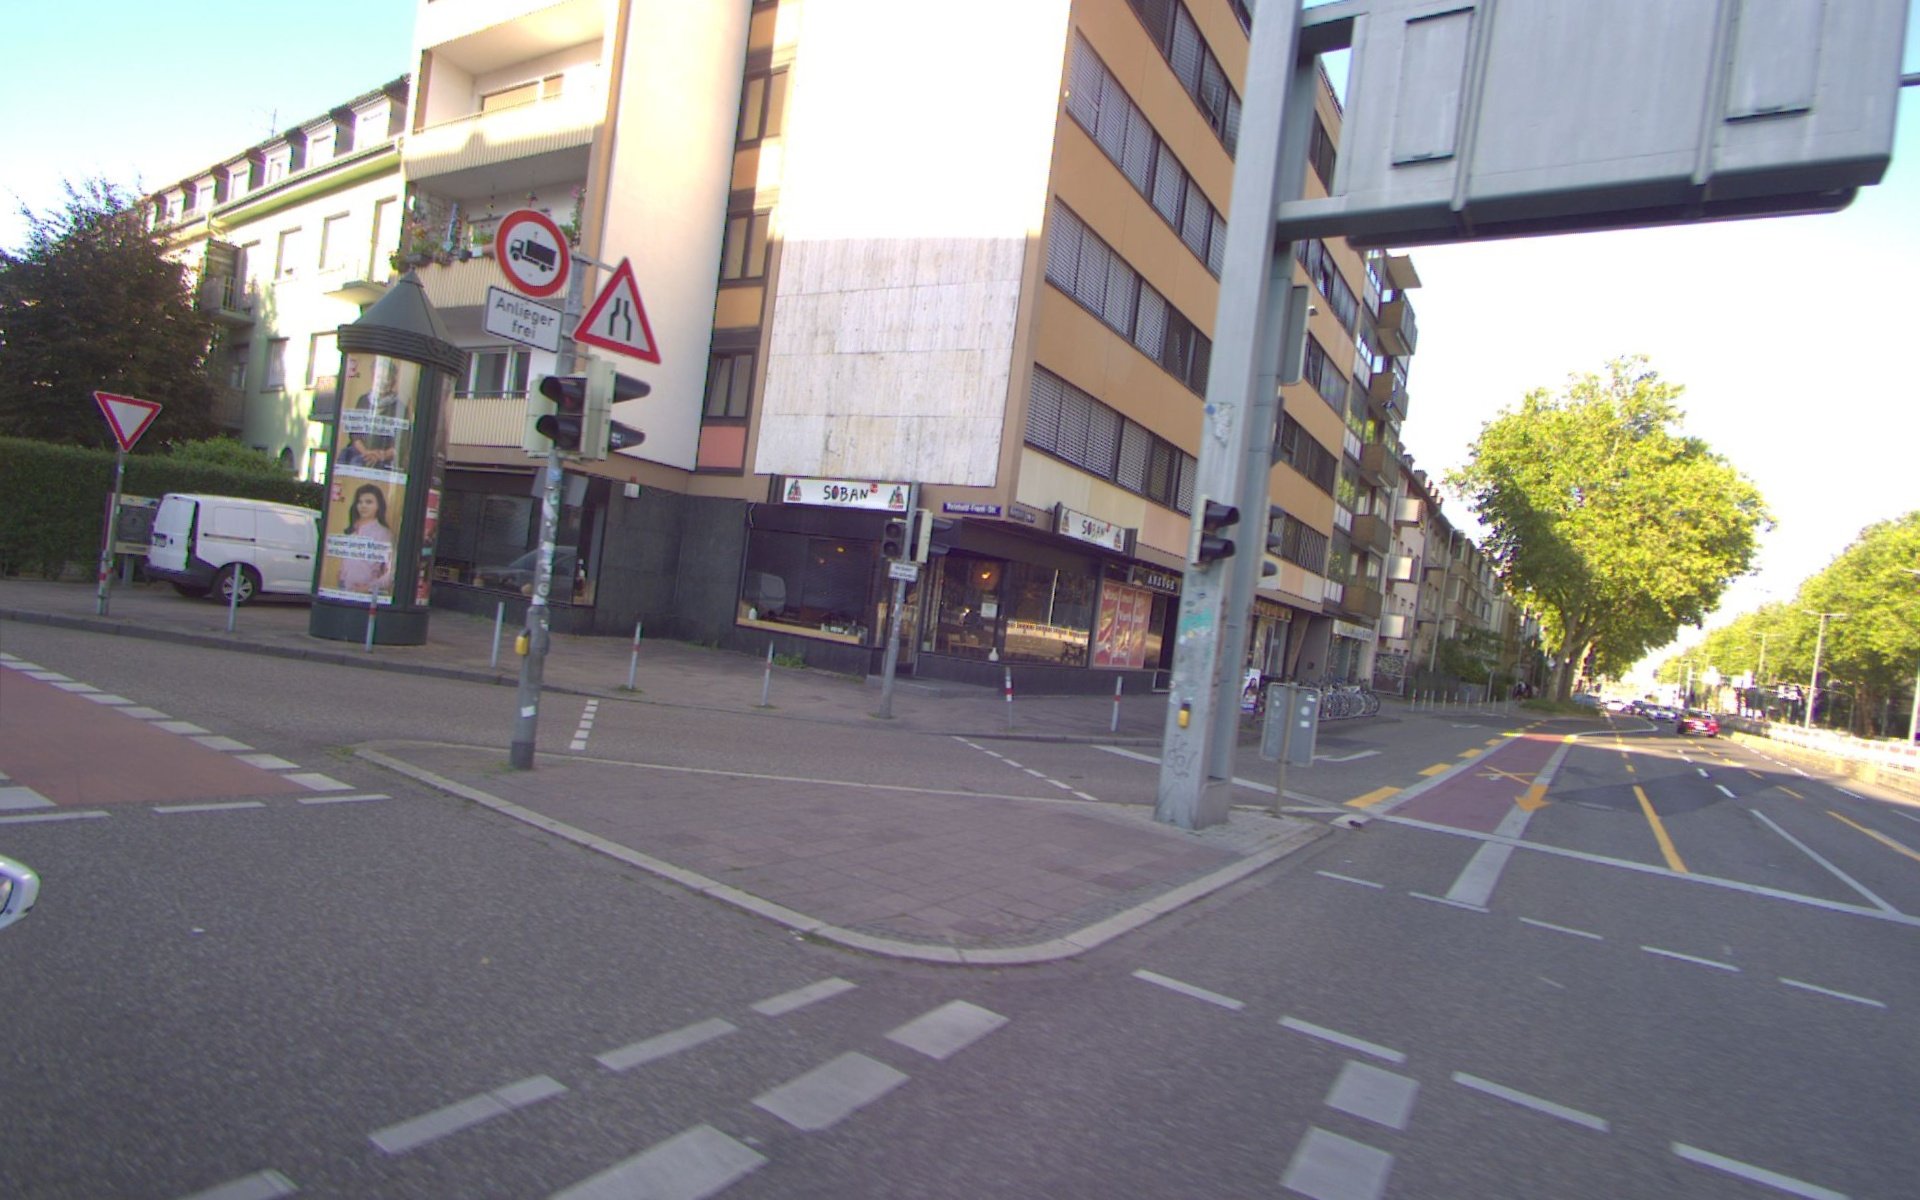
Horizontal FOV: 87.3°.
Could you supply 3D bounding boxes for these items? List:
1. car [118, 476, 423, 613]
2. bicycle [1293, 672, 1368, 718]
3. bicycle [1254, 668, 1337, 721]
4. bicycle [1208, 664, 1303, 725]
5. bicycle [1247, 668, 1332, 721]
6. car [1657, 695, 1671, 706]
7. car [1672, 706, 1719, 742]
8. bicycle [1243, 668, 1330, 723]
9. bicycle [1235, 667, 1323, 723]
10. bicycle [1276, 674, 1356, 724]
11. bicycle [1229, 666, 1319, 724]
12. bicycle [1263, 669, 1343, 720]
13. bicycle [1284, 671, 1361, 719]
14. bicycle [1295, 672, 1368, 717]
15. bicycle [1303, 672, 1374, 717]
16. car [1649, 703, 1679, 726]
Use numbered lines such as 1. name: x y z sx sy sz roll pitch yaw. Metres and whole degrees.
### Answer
1. car: -12.420 -0.930 18.387 1.831 1.836 4.091 8 0 34
2. bicycle: 11.343 2.897 30.828 1.972 1.110 0.527 8 1 27
3. bicycle: 9.113 2.558 27.371 1.973 1.110 0.527 8 1 30
4. bicycle: 6.996 2.235 23.888 1.975 1.110 0.526 8 1 35
5. bicycle: 8.785 2.508 26.847 1.973 1.110 0.527 8 1 30
6. car: 133.605 19.078 191.048 1.742 1.726 3.992 8 0 32
7. car: 43.656 7.331 59.778 1.742 1.726 3.992 8 0 32
8. bicycle: 8.510 2.465 26.240 1.972 1.110 0.527 8 1 27
9. bicycle: 8.153 2.411 25.747 1.972 1.110 0.527 8 1 27
10. bicycle: 10.168 2.808 28.763 1.972 1.110 0.527 8 1 27
11. bicycle: 7.850 2.365 25.209 1.972 1.110 0.527 8 1 27
12. bicycle: 9.615 2.635 28.228 1.972 1.110 0.527 8 1 27
13. bicycle: 10.798 2.814 29.993 1.972 1.110 0.527 8 1 27
14. bicycle: 11.618 2.940 31.445 1.972 1.110 0.527 8 1 27
15. bicycle: 12.192 3.027 32.421 1.972 1.110 0.527 8 1 27
16. car: 63.092 10.260 90.232 1.742 1.726 3.992 8 0 32
